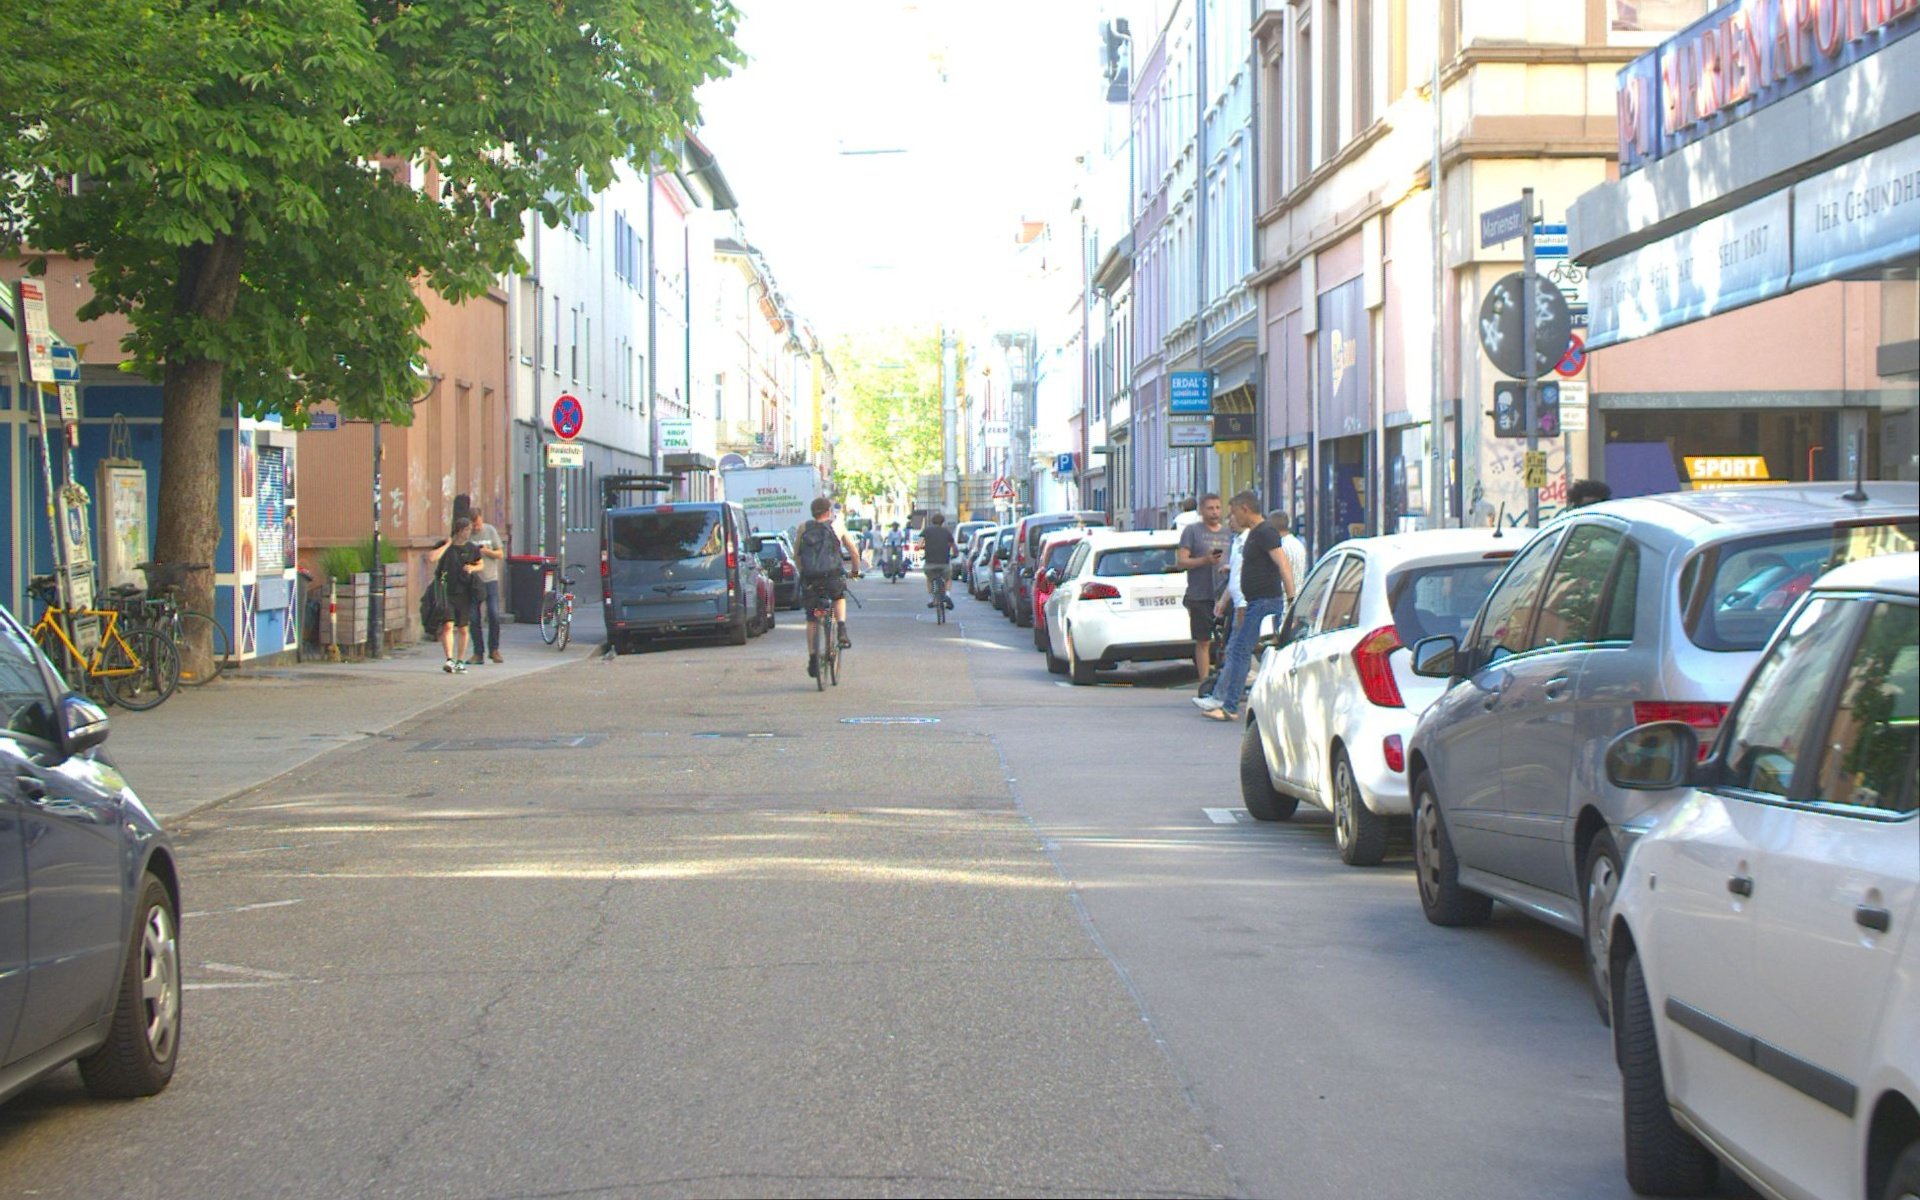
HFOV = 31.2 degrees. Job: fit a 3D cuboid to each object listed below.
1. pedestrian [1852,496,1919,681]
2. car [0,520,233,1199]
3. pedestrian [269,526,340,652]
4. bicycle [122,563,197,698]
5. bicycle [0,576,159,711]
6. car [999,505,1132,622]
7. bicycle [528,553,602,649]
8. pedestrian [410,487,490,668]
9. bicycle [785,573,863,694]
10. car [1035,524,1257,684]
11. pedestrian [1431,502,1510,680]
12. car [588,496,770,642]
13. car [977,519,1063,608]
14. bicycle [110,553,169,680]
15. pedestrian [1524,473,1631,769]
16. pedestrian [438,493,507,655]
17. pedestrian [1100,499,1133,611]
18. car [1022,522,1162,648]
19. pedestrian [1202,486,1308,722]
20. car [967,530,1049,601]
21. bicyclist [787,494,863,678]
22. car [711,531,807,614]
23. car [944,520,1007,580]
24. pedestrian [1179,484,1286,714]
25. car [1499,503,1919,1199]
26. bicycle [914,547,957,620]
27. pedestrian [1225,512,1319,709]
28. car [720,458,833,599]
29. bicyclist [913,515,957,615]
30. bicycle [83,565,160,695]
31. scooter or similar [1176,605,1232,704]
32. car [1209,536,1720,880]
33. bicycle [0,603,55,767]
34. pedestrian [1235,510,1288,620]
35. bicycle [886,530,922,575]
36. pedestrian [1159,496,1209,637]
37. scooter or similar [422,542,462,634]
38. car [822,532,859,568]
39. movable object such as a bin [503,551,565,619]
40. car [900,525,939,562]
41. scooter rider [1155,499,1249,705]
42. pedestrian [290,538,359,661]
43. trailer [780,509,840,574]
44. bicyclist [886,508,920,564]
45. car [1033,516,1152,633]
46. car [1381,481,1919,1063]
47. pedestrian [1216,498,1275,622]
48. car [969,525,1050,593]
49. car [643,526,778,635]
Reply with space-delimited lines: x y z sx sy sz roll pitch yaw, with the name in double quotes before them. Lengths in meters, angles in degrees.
"pedestrian" 8.807 -0.112 32.323 0.690 1.720 0.475 1 0 -1
"car" -2.953 0.585 7.847 1.794 1.547 3.834 1 1 -1
"pedestrian" -7.581 -0.127 39.755 0.705 1.440 0.617 1 0 -2
"bicycle" -6.846 0.245 29.437 0.292 1.078 1.579 1 2 -1
"bicycle" -7.433 0.351 28.371 1.574 1.079 0.346 1 0 10
"car" 1.676 -0.593 55.852 1.899 1.787 4.315 1 1 -1
"bicycle" -5.128 0.000 44.566 0.550 1.212 1.989 1 1 -18
"pedestrian" -5.331 -0.238 35.966 0.716 1.867 0.720 1 0 -1
"bicycle" -1.254 0.295 31.955 0.677 1.071 1.942 1 1 -1
"car" 1.827 0.015 35.004 1.786 1.511 4.137 1 1 -3
"pedestrian" 4.814 -0.094 32.400 0.600 1.644 0.464 1 3 30
"car" -3.806 -0.471 47.401 2.020 1.873 5.297 1 1 0
"car" 1.177 -0.733 68.864 1.556 1.706 3.559 1 1 -1
"bicycle" -7.748 0.142 32.432 0.497 1.127 2.038 1 1 -14
"pedestrian" 3.988 0.131 22.226 0.561 1.887 0.530 1 0 -1
"pedestrian" -5.604 -0.300 39.556 0.646 1.827 0.697 2 0 -1
"pedestrian" 2.404 -0.694 52.799 0.441 1.698 0.655 1 0 0
"car" 1.701 -0.210 45.146 1.606 1.567 3.554 1 1 -1
"pedestrian" 2.309 0.023 26.995 0.693 1.819 1.003 0 1 -3
"car" 1.093 -0.805 79.916 1.686 1.538 4.046 -2 1 -1
"bicyclist" -1.247 -0.134 31.917 0.667 1.671 1.097 1 0 -1
"car" -3.999 -0.580 69.029 1.716 1.473 4.499 -3 2 -1
"car" 0.484 -1.626 111.619 1.750 1.872 3.973 -1 1 -3
"pedestrian" 2.209 -0.010 27.912 0.761 1.829 0.688 1 0 -3
"car" 2.179 0.612 6.634 1.554 1.521 4.201 1 1 -1
"bicycle" -0.401 -0.266 54.849 0.648 1.125 2.136 1 1 -1
"pedestrian" 2.612 0.085 28.820 0.528 1.633 0.564 1 1 43
"car" -4.496 -1.741 85.441 2.343 3.280 7.154 -2 1 0
"bicyclist" -0.401 -0.557 54.828 0.671 1.562 0.716 1 0 0
"bicycle" -7.174 0.243 29.442 0.292 1.042 1.579 1 2 -1
"scooter or similar" 2.106 0.462 29.738 0.393 0.825 0.926 1 0 -1
"car" 2.298 0.447 16.554 1.689 1.458 3.641 1 1 -4
"bicycle" -6.834 0.544 22.556 1.689 1.062 0.347 1 0 -2
"pedestrian" 4.211 -0.488 48.050 0.587 1.524 0.659 1 0 -6
"bicycle" -1.690 -1.435 103.779 0.977 1.310 2.555 -2 1 1
"pedestrian" 2.795 -0.420 42.920 0.561 1.734 0.428 1 0 -1
"scooter or similar" -6.892 -0.165 45.782 0.347 1.212 1.392 1 0 -1
"car" -5.837 -2.449 168.294 1.750 1.678 3.796 -1 1 -1
"movable object such as a bin" -6.741 -0.237 54.416 0.760 1.063 0.651 1 0 19
"car" -1.704 -2.384 145.158 1.611 1.554 3.610 0 1 -1
"scooter rider" 2.116 0.015 30.001 0.564 1.772 0.610 1 0 34
"pedestrian" -7.491 -0.008 40.552 0.705 1.440 0.617 1 0 -2
"trailer" -5.005 -1.947 114.890 1.882 2.085 3.737 -1 1 -1
"bicyclist" -1.717 -1.932 103.738 0.950 1.622 0.953 -2 1 0
"car" 1.901 -0.377 50.048 1.570 1.551 3.314 -3 0 1
"car" 2.628 0.475 11.807 1.700 1.644 4.064 1 1 -2
"pedestrian" 4.048 -0.568 48.774 0.628 1.734 0.659 1 0 -14
"car" 1.241 -1.072 88.018 1.918 1.700 4.367 0 1 -1
"car" -3.778 -0.301 52.618 1.750 1.517 3.869 -3 0 -1
